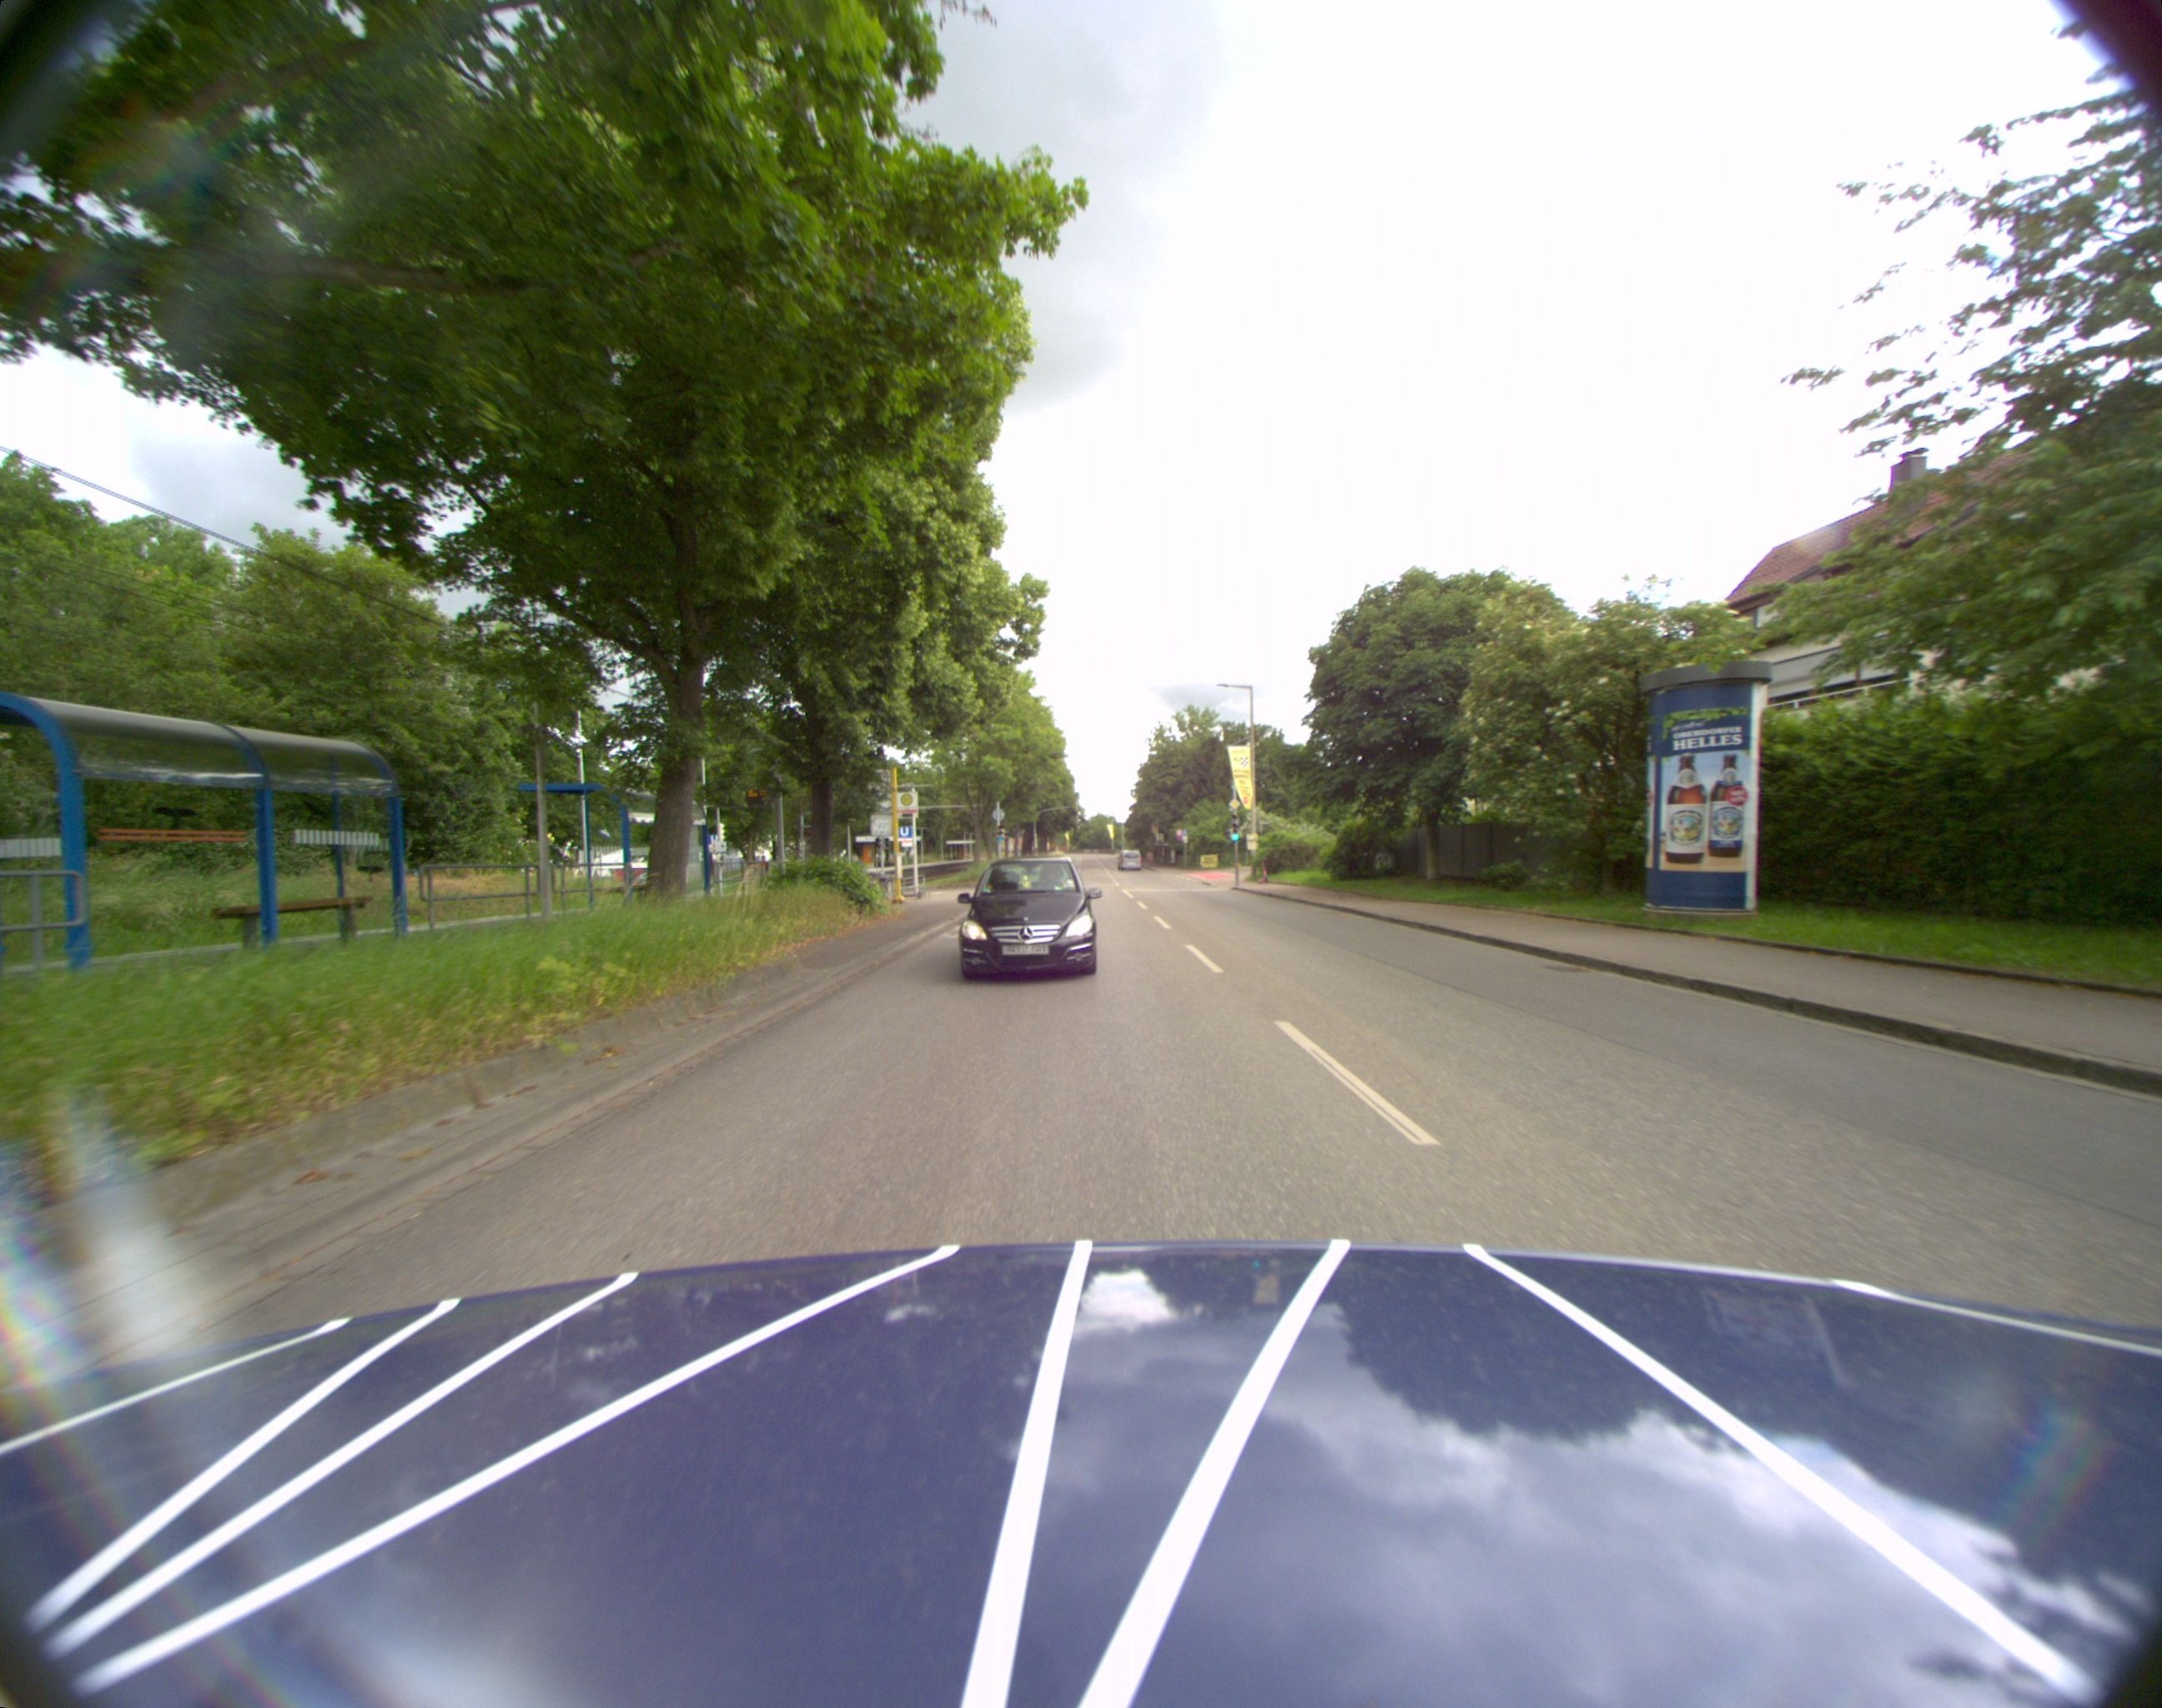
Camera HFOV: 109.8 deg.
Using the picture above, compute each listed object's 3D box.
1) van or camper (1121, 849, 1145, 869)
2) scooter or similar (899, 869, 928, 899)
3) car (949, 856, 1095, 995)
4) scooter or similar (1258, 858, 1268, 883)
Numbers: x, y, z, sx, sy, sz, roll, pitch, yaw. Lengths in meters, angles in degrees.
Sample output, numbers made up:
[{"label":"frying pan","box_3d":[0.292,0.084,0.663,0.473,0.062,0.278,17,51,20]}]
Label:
[{"label":"van or camper","box_3d":[5.119,0.462,74.877,1.918,1.888,4.811,-1,0,-1]},{"label":"scooter or similar","box_3d":[-6.920,1.233,31.362,1.088,1.201,0.364,-2,1,-7]},{"label":"car","box_3d":[-0.717,0.868,11.391,1.683,1.565,4.482,-3,0,0]},{"label":"scooter or similar","box_3d":[9.045,0.826,37.724,0.253,1.209,1.280,-1,0,5]}]
